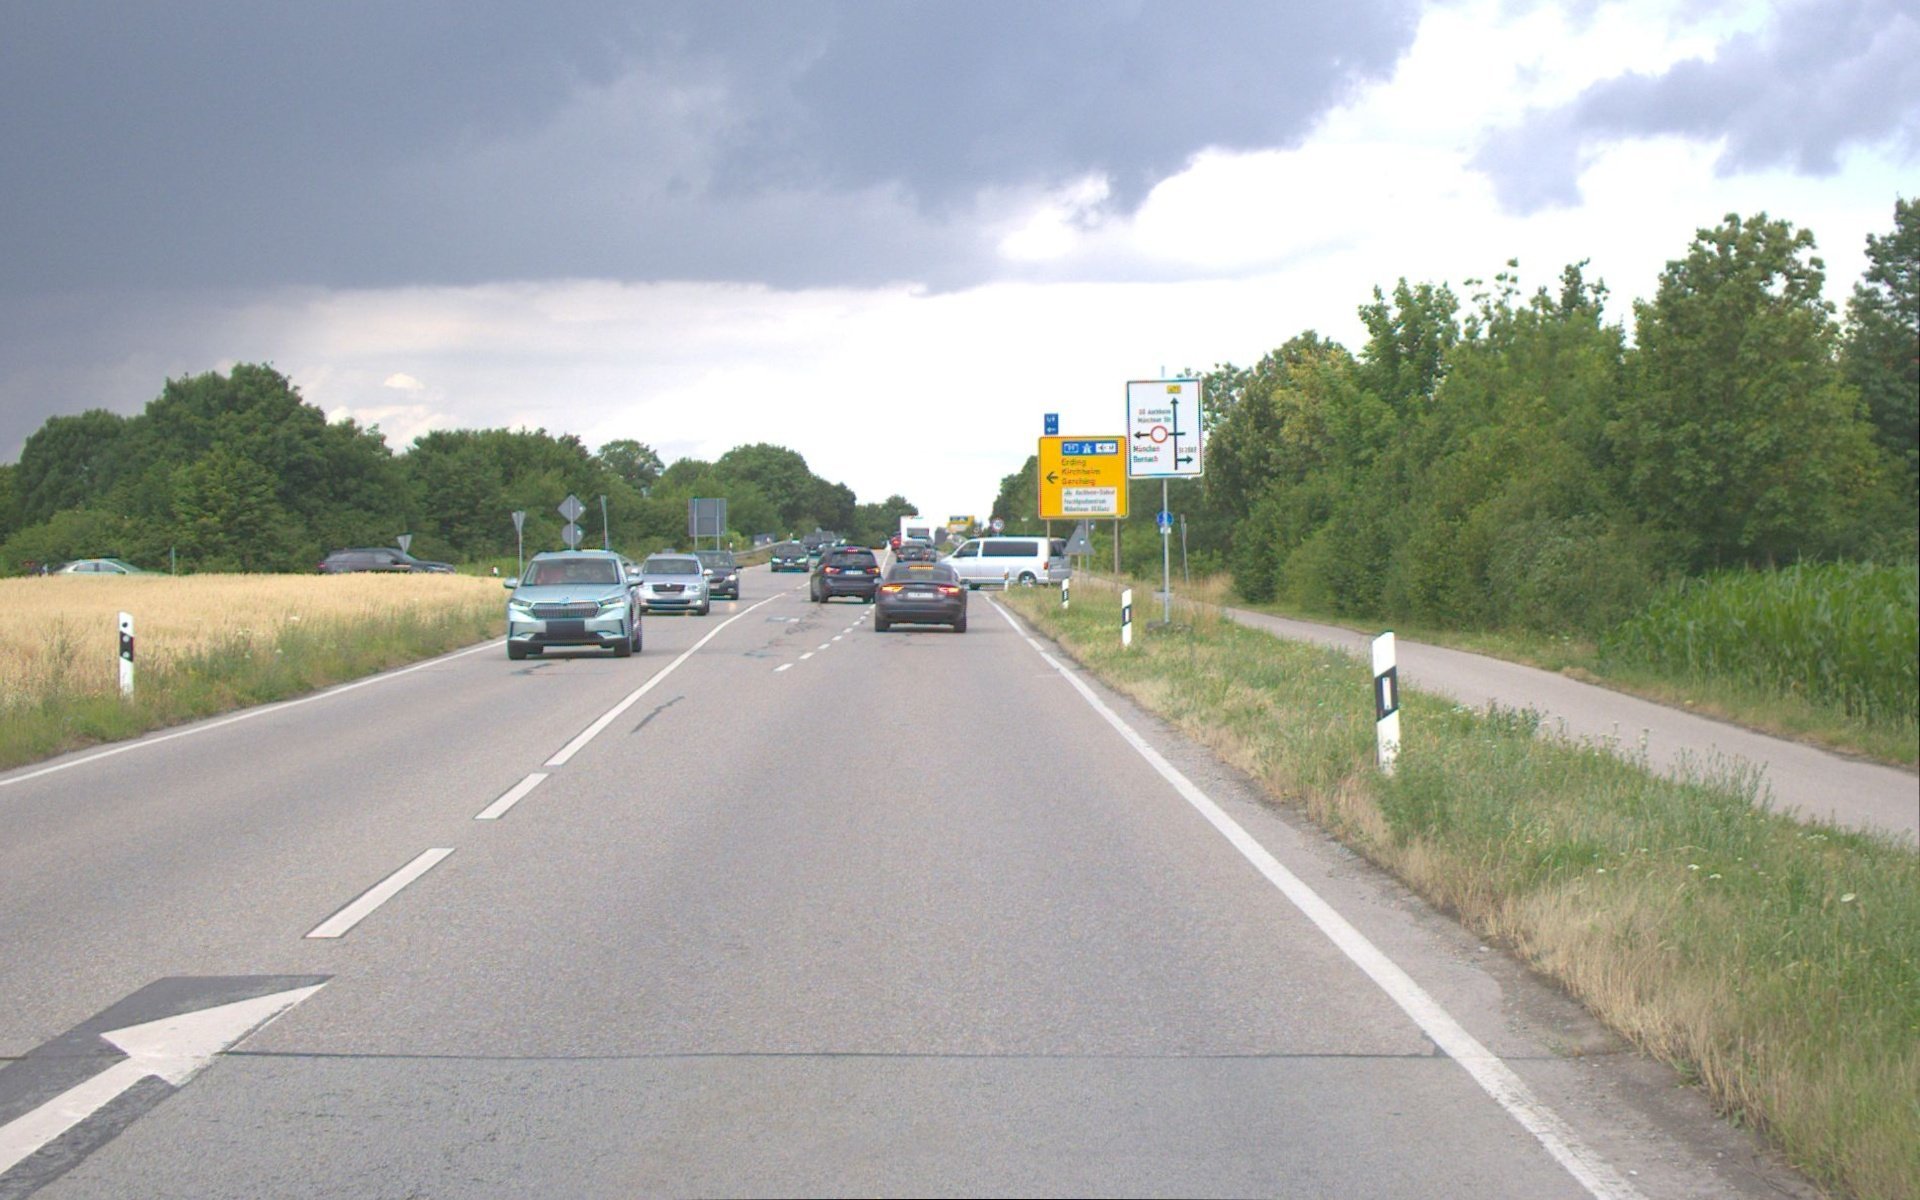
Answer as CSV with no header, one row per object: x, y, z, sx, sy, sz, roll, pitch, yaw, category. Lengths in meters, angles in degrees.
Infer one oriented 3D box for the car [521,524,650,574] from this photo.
-12.934,-1.767,118.887,4.412,1.643,1.502,-1,1,-5,car

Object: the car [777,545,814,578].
-8.086,-1.907,169.115,1.646,1.585,4.000,-1,1,0,car

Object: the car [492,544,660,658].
-5.849,-0.022,52.891,2.065,1.575,4.766,-2,1,-1,car

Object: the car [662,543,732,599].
-8.004,-0.901,104.830,1.853,1.624,4.000,-1,1,-1,car

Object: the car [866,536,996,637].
-0.624,-0.297,69.549,2.371,1.874,4.478,-2,1,-3,car

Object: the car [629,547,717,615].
-6.968,-0.494,83.934,1.767,1.596,4.931,-1,1,-1,car

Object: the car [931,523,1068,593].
1.440,-1.541,125.589,4.835,2.443,2.006,-1,1,-3,car

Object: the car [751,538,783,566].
-11.261,-2.824,200.625,1.646,1.585,4.000,-1,1,0,car

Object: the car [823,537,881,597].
-3.139,-0.974,100.201,1.571,1.695,4.000,-1,1,-1,car
